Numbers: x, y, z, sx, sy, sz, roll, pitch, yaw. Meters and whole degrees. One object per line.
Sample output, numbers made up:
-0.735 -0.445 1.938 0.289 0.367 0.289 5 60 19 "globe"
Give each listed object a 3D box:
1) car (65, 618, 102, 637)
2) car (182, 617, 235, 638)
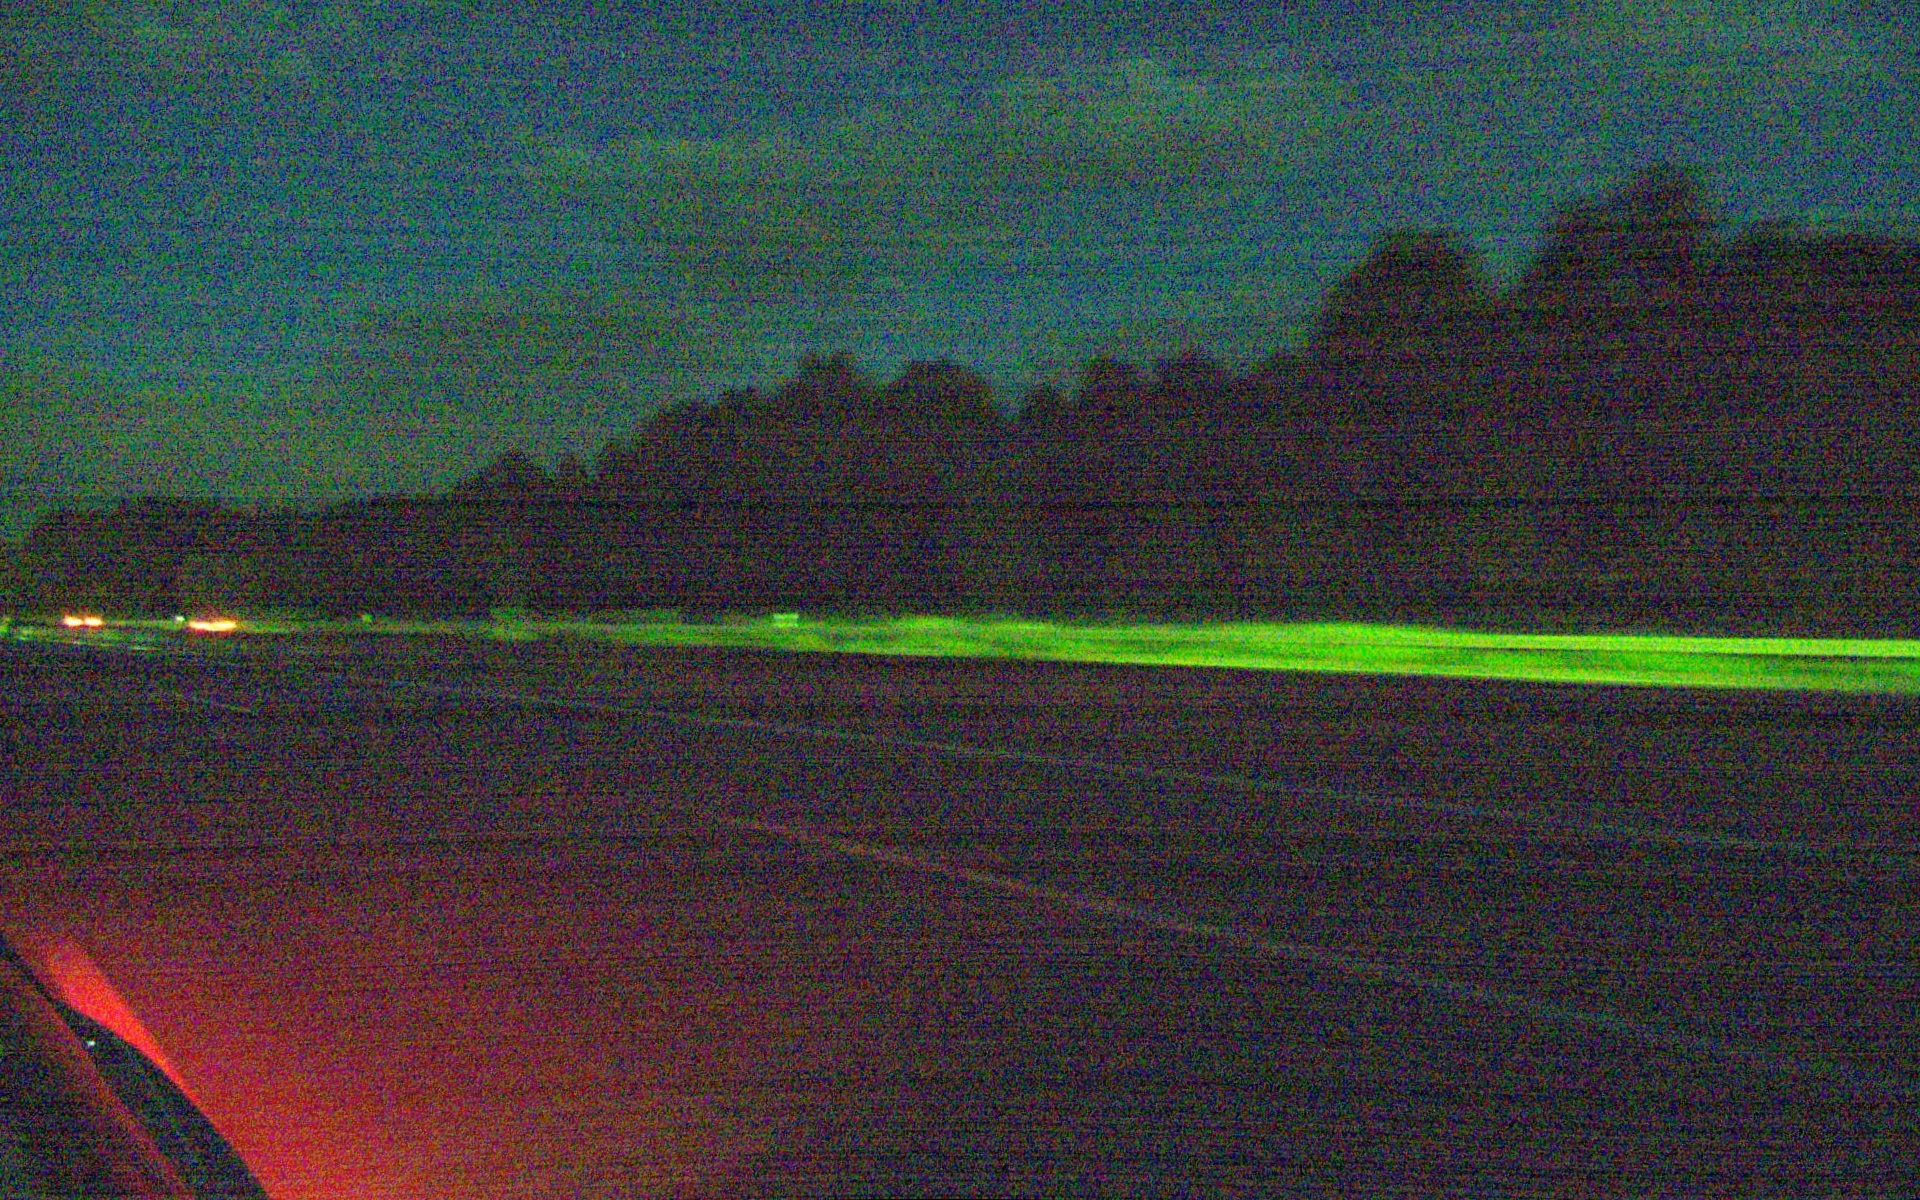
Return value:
-81.823 2.569 94.432 4.396 1.663 1.973 0 0 40 "car"
-50.708 1.824 68.223 4.397 1.342 1.973 0 0 41 "car"
